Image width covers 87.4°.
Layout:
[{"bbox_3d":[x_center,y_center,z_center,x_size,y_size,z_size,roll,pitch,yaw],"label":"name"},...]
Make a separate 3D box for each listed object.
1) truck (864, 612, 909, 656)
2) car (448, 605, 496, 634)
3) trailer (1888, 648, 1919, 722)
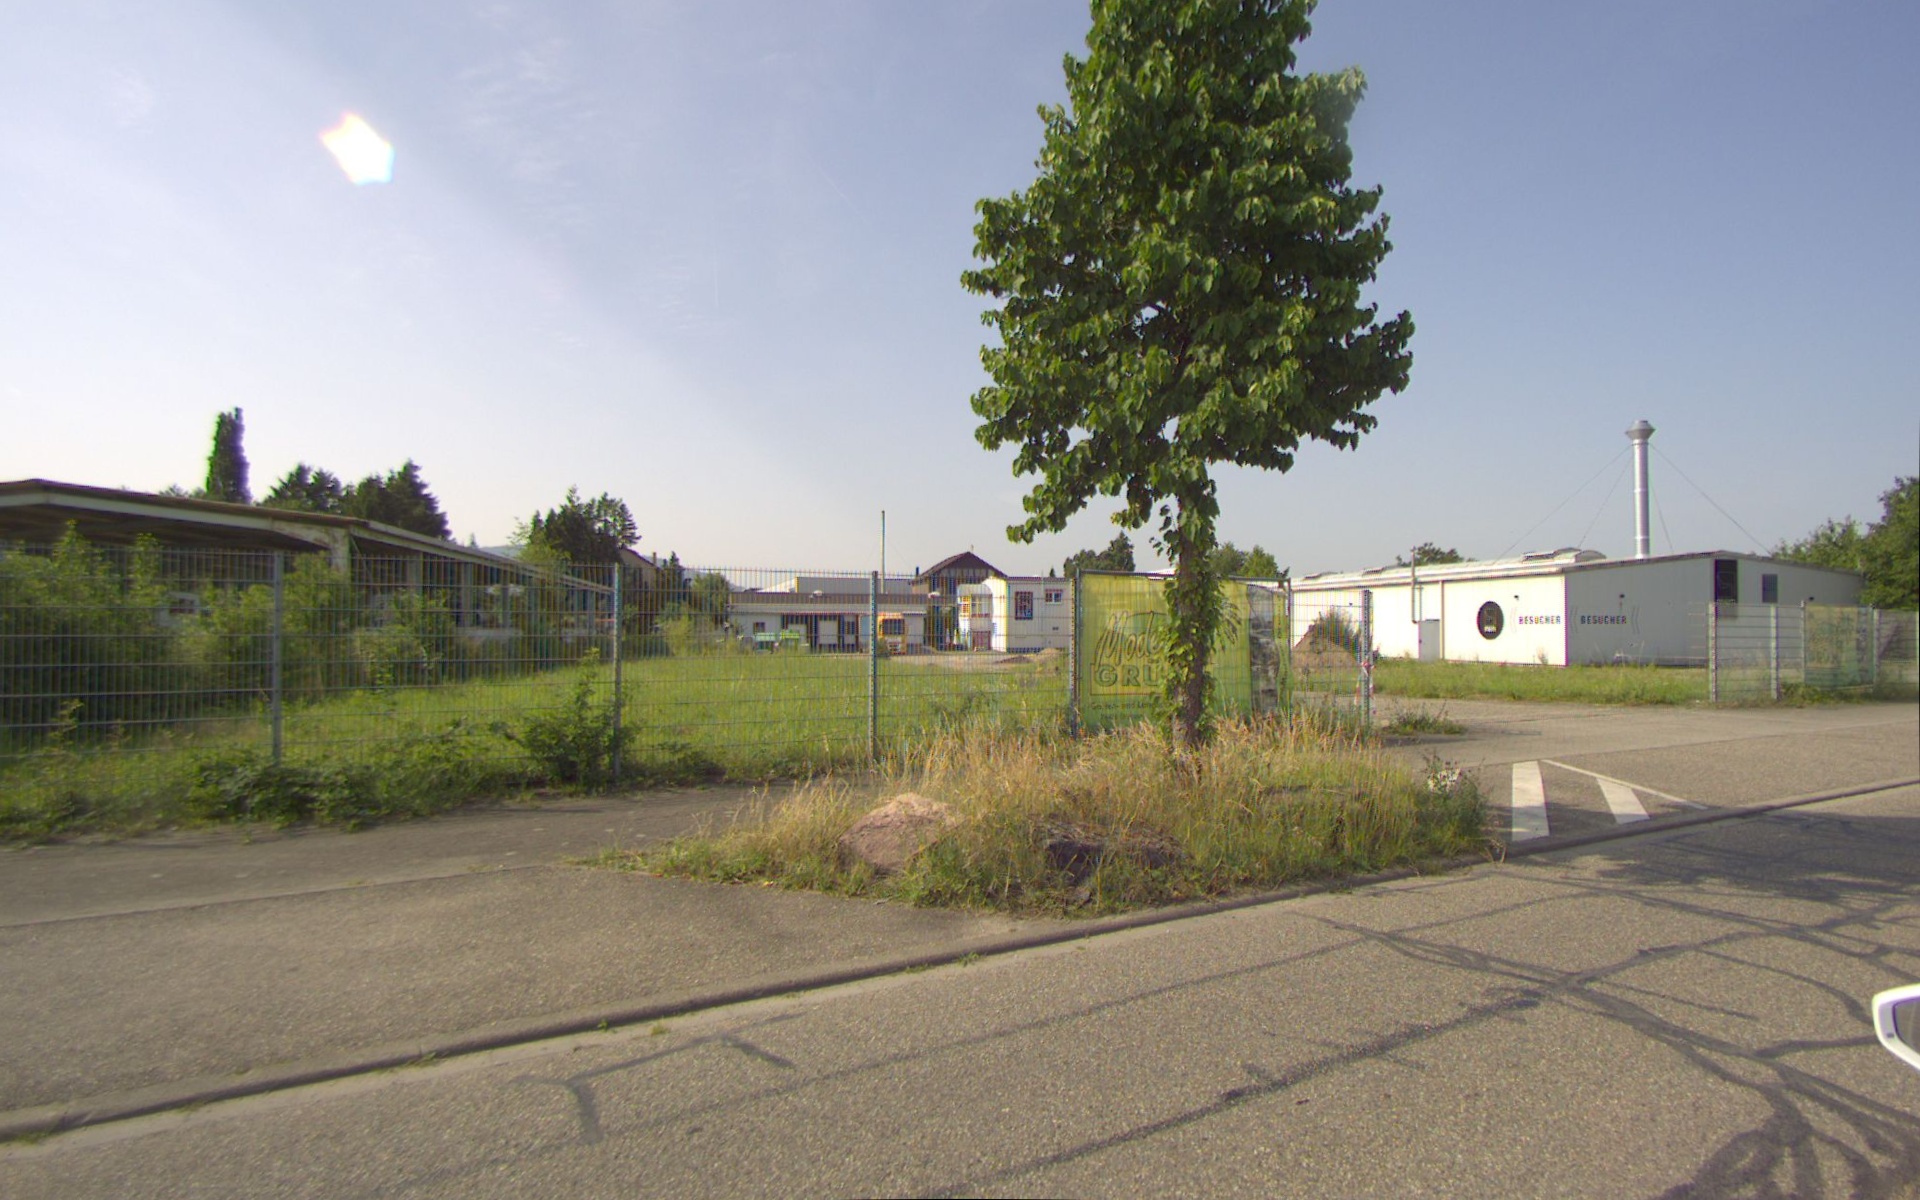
[{"bbox_3d":[-7.074,3.267,95.630,2.852,3.938,7.564,0,-2,-16],"label":"truck"},{"bbox_3d":[-31.266,1.260,64.477,1.715,1.831,3.897,0,-2,-9],"label":"car"},{"bbox_3d":[20.268,1.501,18.165,9.253,1.200,2.570,1,0,-30],"label":"trailer"}]
